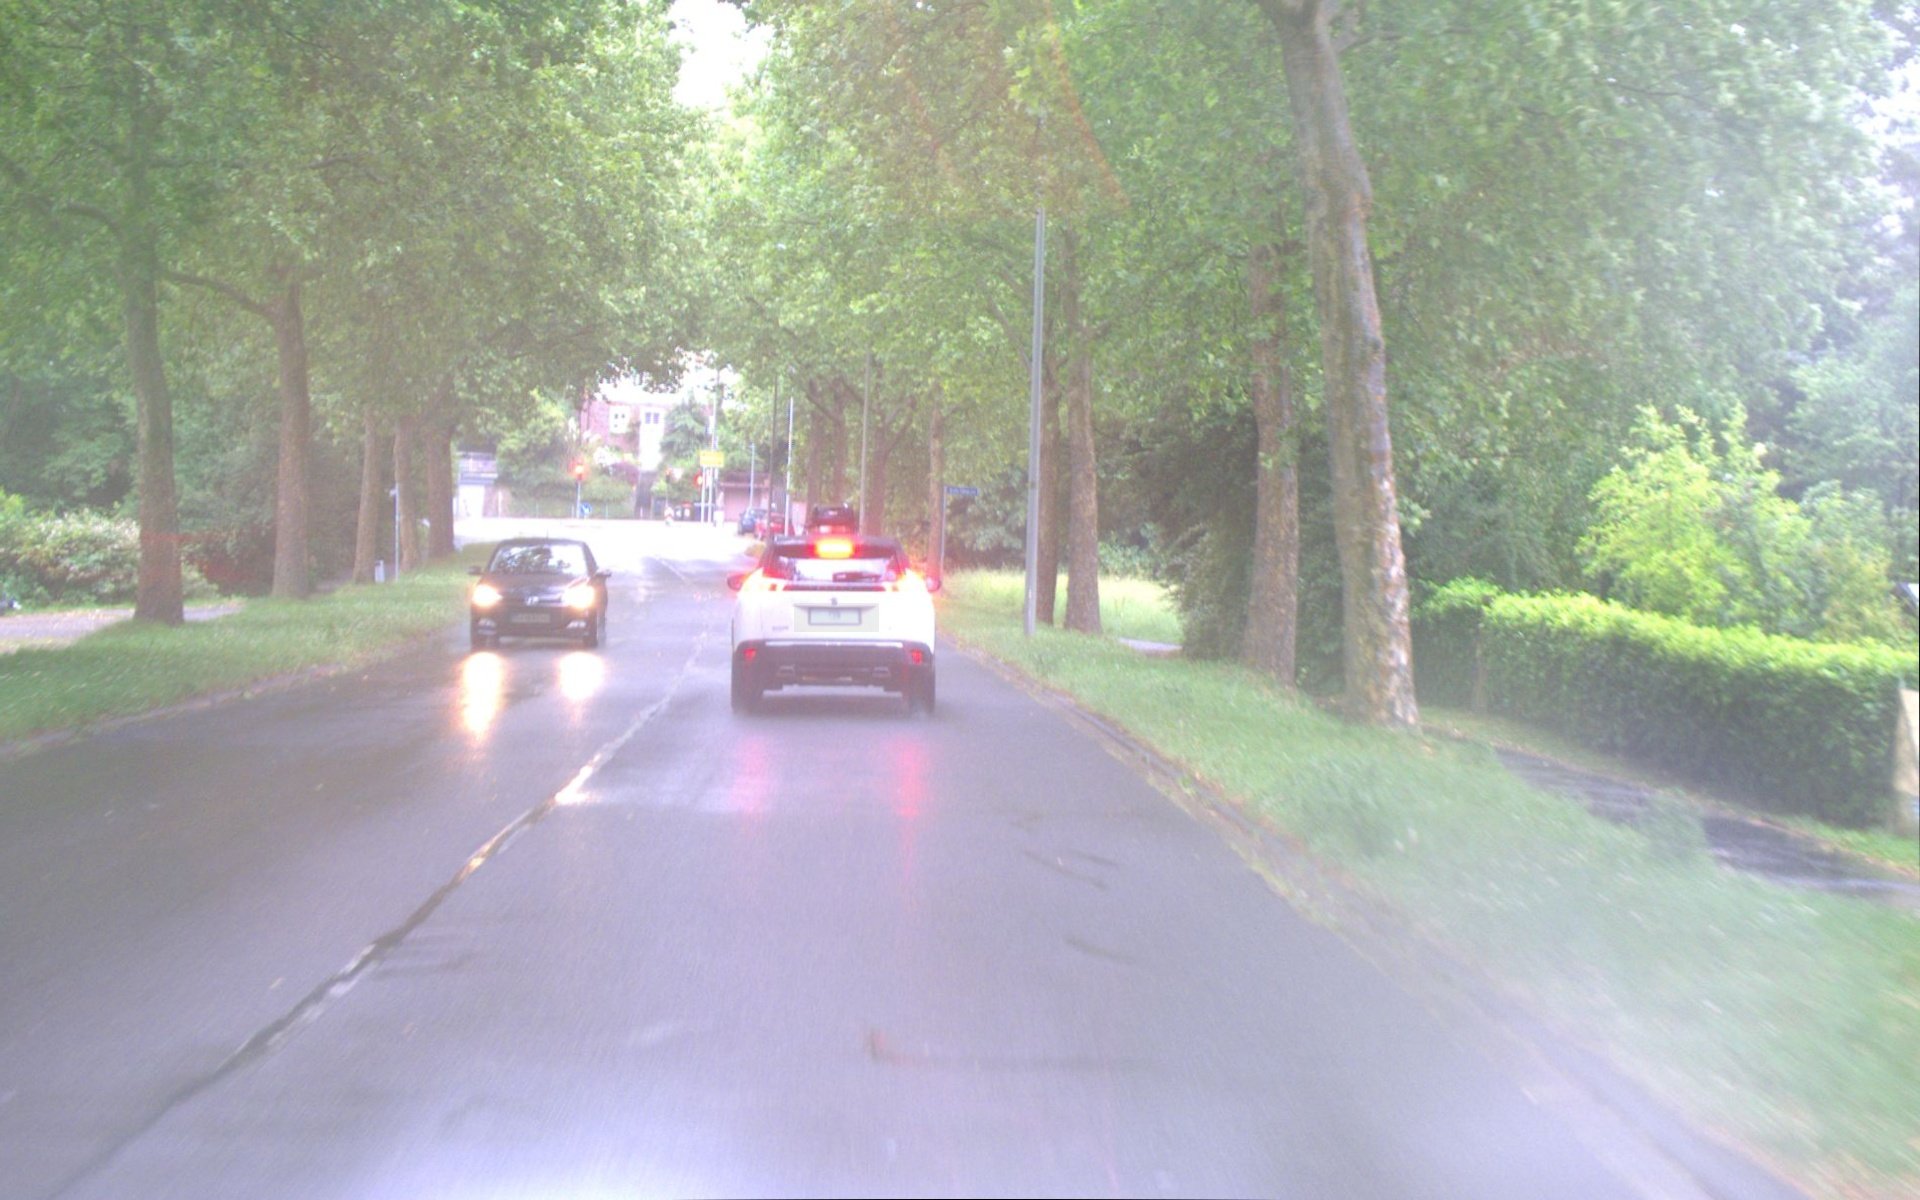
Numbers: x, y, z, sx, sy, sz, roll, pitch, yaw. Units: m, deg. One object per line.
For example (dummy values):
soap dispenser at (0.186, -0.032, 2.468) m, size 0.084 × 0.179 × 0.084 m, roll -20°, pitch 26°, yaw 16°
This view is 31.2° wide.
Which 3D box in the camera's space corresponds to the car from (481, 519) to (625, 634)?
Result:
car at (-5.607, -0.355, 47.713) m, size 1.706 × 1.481 × 3.882 m, roll 2°, pitch 1°, yaw -3°

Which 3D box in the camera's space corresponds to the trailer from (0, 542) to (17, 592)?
trailer at (-24.621, -0.819, 82.749) m, size 3.552 × 1.174 × 1.823 m, roll 0°, pitch 2°, yaw -10°

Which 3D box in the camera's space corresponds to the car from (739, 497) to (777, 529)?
car at (-10.748, -4.627, 183.282) m, size 1.827 × 1.590 × 3.654 m, roll 2°, pitch 1°, yaw -1°

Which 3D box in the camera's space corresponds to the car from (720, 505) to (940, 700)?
car at (-1.108, -0.033, 30.839) m, size 1.794 × 1.573 × 3.845 m, roll 2°, pitch 2°, yaw 0°

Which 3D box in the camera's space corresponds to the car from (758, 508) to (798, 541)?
car at (-9.195, -3.843, 174.157) m, size 1.827 × 1.590 × 3.654 m, roll 2°, pitch 1°, yaw -1°
